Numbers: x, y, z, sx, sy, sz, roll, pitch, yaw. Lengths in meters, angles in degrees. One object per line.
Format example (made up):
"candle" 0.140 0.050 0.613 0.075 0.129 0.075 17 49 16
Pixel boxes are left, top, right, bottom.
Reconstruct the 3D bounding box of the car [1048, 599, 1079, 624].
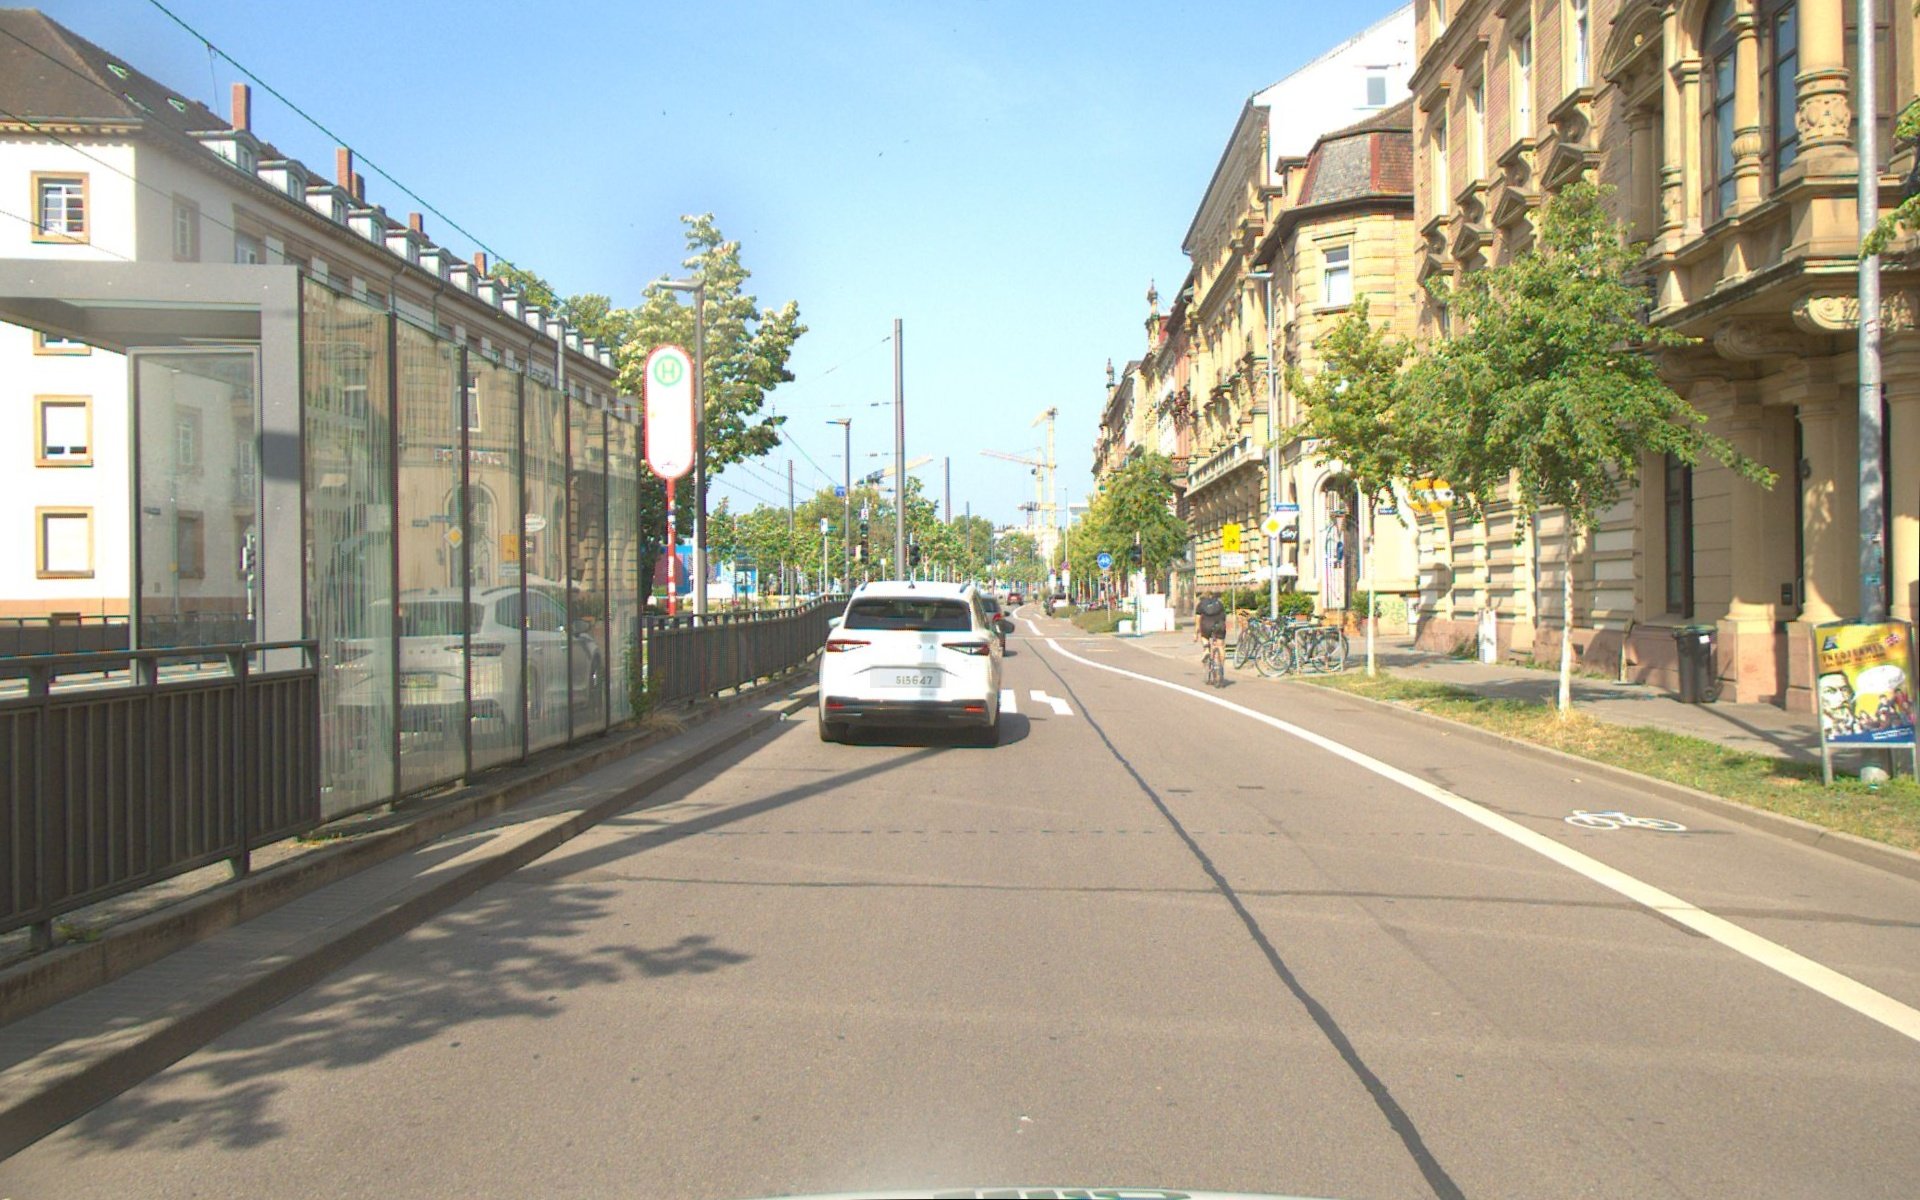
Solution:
"car" 7.352 0.789 117.621 1.734 1.616 4.246 -2 0 -2

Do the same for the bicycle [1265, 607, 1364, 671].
"bicycle" 7.003 0.762 32.685 1.723 1.106 0.657 -4 0 -8

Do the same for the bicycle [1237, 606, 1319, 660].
"bicycle" 7.158 0.737 37.286 1.715 1.106 0.583 -3 0 5

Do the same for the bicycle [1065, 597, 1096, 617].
"bicycle" 6.990 0.384 95.935 1.748 1.072 0.373 -2 0 0

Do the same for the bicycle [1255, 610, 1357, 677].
"bicycle" 6.510 0.810 31.130 1.723 1.106 0.610 -4 0 -8

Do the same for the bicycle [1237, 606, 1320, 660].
"bicycle" 7.061 0.732 36.687 1.715 1.106 0.583 -3 0 5

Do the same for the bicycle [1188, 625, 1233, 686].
"bicycle" 4.329 0.945 28.689 0.495 0.970 1.785 -1 1 0

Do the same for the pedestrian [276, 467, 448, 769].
"pedestrian" -4.255 0.126 11.846 0.816 2.049 1.028 2 0 -2

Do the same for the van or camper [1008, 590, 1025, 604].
"van or camper" 6.880 -0.365 201.624 1.952 1.684 4.001 -1 0 1

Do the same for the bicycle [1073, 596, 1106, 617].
"bicycle" 7.426 0.392 94.681 1.771 1.115 0.671 -3 0 -4

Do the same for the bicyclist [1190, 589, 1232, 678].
"bicyclist" 4.325 0.564 28.537 0.572 1.508 0.931 -1 1 0

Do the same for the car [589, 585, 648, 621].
"car" -18.863 0.139 91.533 1.952 1.951 5.154 1 0 2

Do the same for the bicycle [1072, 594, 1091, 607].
"bicycle" 10.138 0.043 137.828 0.447 1.101 1.865 -3 -2 43

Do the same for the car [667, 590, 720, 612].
"car" -36.375 0.131 225.766 6.771 2.685 2.501 2 0 -19

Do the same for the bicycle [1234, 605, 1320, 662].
"bicycle" 6.775 0.719 35.438 1.718 1.106 0.669 -3 0 7

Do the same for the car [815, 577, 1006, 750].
"car" -0.404 0.589 17.727 1.779 1.617 4.408 0 0 2

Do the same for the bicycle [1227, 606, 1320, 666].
"bicycle" 6.440 0.733 33.941 1.731 1.106 0.668 -4 0 -22

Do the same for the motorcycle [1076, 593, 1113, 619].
"motorcycle" 7.366 0.317 90.584 2.017 1.309 0.697 -3 1 -34

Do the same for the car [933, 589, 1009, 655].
"car" 0.320 0.505 40.188 1.717 1.510 4.408 0 0 2
